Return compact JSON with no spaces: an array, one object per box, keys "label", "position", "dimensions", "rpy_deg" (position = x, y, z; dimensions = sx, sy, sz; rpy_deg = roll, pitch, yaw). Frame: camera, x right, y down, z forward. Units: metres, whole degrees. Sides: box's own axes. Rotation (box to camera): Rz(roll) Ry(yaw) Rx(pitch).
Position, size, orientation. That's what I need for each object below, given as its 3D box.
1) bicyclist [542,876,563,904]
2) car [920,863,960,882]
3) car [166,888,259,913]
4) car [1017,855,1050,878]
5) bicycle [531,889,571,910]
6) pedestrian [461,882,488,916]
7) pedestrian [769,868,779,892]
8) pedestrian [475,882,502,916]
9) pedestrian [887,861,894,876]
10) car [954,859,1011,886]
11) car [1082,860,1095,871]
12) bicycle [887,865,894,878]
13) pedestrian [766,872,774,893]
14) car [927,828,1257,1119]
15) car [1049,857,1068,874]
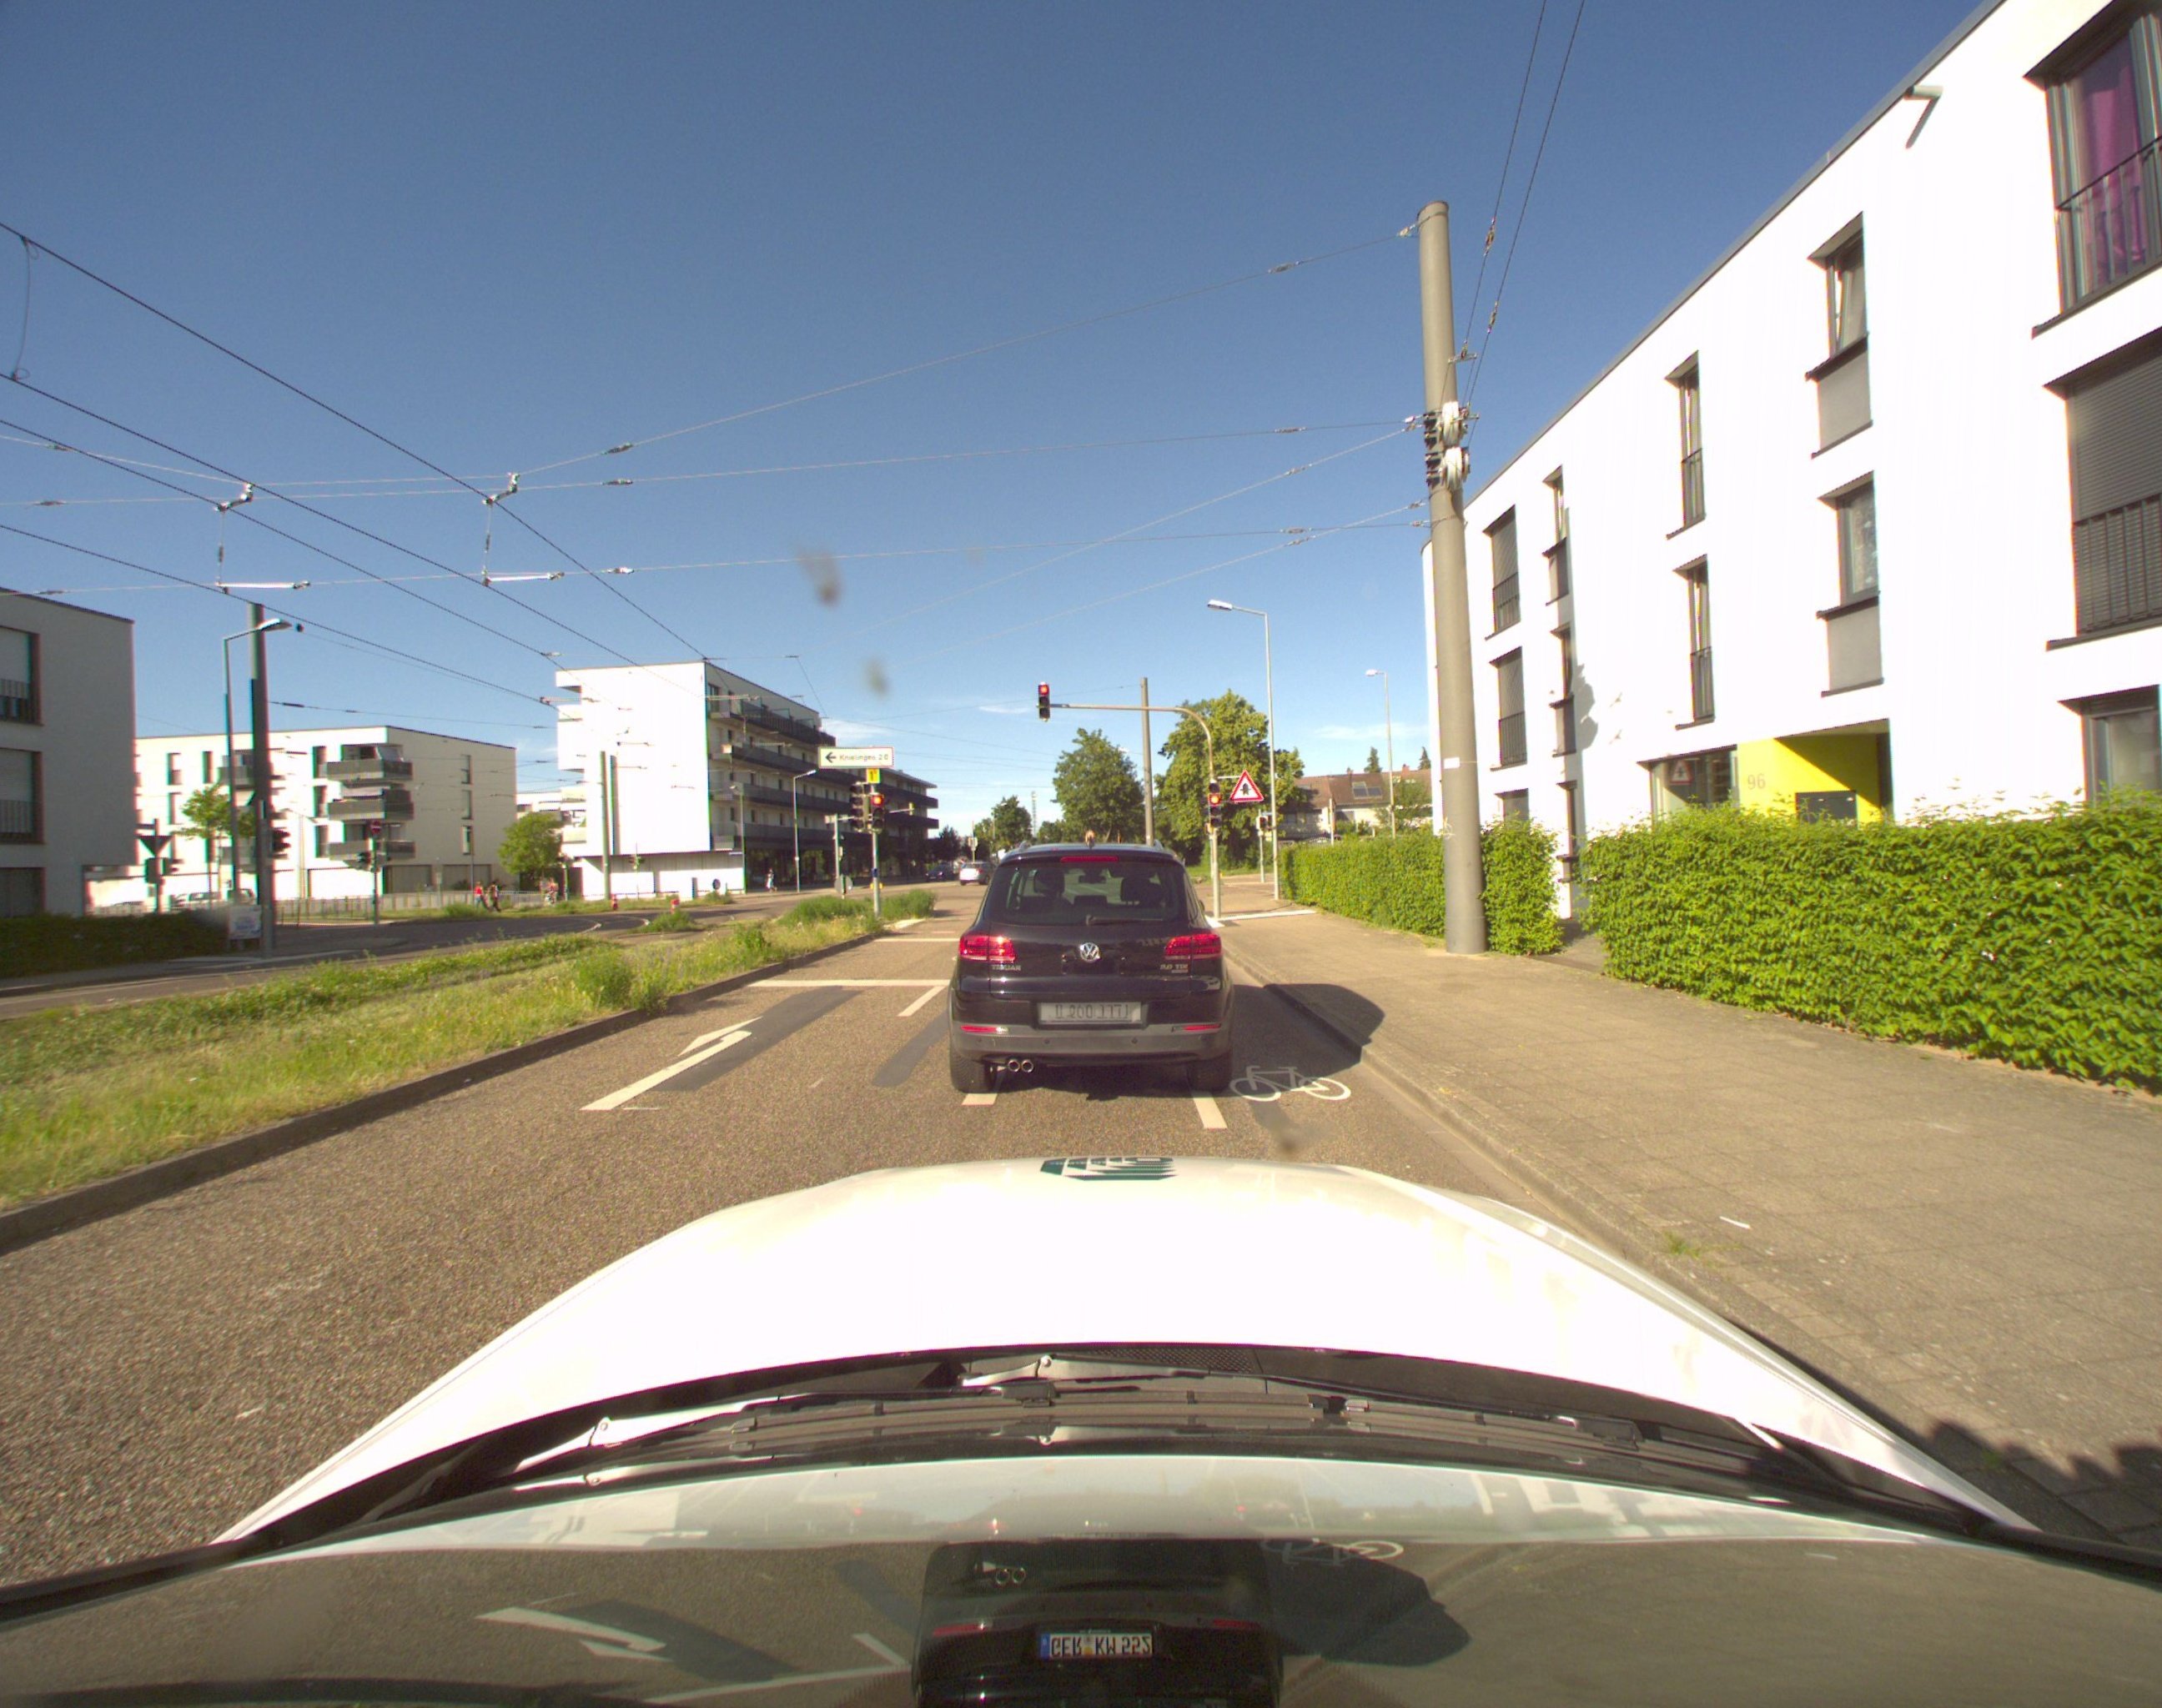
[{"label":"bicyclist","position":[-30.644,2.099,47.193],"dimensions":[0.777,1.614,0.643],"rpy_deg":[-1,-1,11]},{"label":"car","position":[-12.398,1.591,71.817],"dimensions":[1.980,1.574,4.353],"rpy_deg":[-1,-1,11]},{"label":"car","position":[-58.851,3.162,55.215],"dimensions":[4.305,1.574,2.002],"rpy_deg":[0,-1,4]},{"label":"car","position":[-3.770,1.000,64.980],"dimensions":[1.853,1.720,3.696],"rpy_deg":[-2,0,9]},{"label":"bicycle","position":[-30.666,2.631,47.150],"dimensions":[0.814,1.124,1.867],"rpy_deg":[-1,-1,12]},{"label":"pedestrian","position":[-29.839,2.204,40.051],"dimensions":[0.770,1.605,0.741],"rpy_deg":[0,-1,-5]},{"label":"pedestrian","position":[-22.175,1.894,58.775],"dimensions":[0.542,1.744,0.517],"rpy_deg":[0,-1,-4]},{"label":"pedestrian","position":[-29.044,2.197,39.943],"dimensions":[0.770,1.605,0.741],"rpy_deg":[0,-1,-5]},{"label":"pedestrian","position":[-19.886,1.509,85.049],"dimensions":[0.643,1.509,0.594],"rpy_deg":[0,-1,-10]},{"label":"car","position":[-6.134,1.136,51.117],"dimensions":[1.848,1.485,4.130],"rpy_deg":[-3,0,19]},{"label":"car","position":[1.181,1.848,129.158],"dimensions":[1.987,1.684,4.000],"rpy_deg":[0,-1,0]},{"label":"bicycle","position":[-19.861,1.864,84.986],"dimensions":[0.630,1.332,1.906],"rpy_deg":[0,-1,-9]},{"label":"pedestrian","position":[-22.217,2.034,58.164],"dimensions":[0.440,1.503,0.517],"rpy_deg":[0,-1,-4]},{"label":"car","position":[0.123,0.694,6.620],"dimensions":[1.862,1.637,4.001],"rpy_deg":[0,-1,2]},{"label":"car","position":[-2.445,1.272,89.234],"dimensions":[1.988,1.836,3.997],"rpy_deg":[0,-1,-2]}]
